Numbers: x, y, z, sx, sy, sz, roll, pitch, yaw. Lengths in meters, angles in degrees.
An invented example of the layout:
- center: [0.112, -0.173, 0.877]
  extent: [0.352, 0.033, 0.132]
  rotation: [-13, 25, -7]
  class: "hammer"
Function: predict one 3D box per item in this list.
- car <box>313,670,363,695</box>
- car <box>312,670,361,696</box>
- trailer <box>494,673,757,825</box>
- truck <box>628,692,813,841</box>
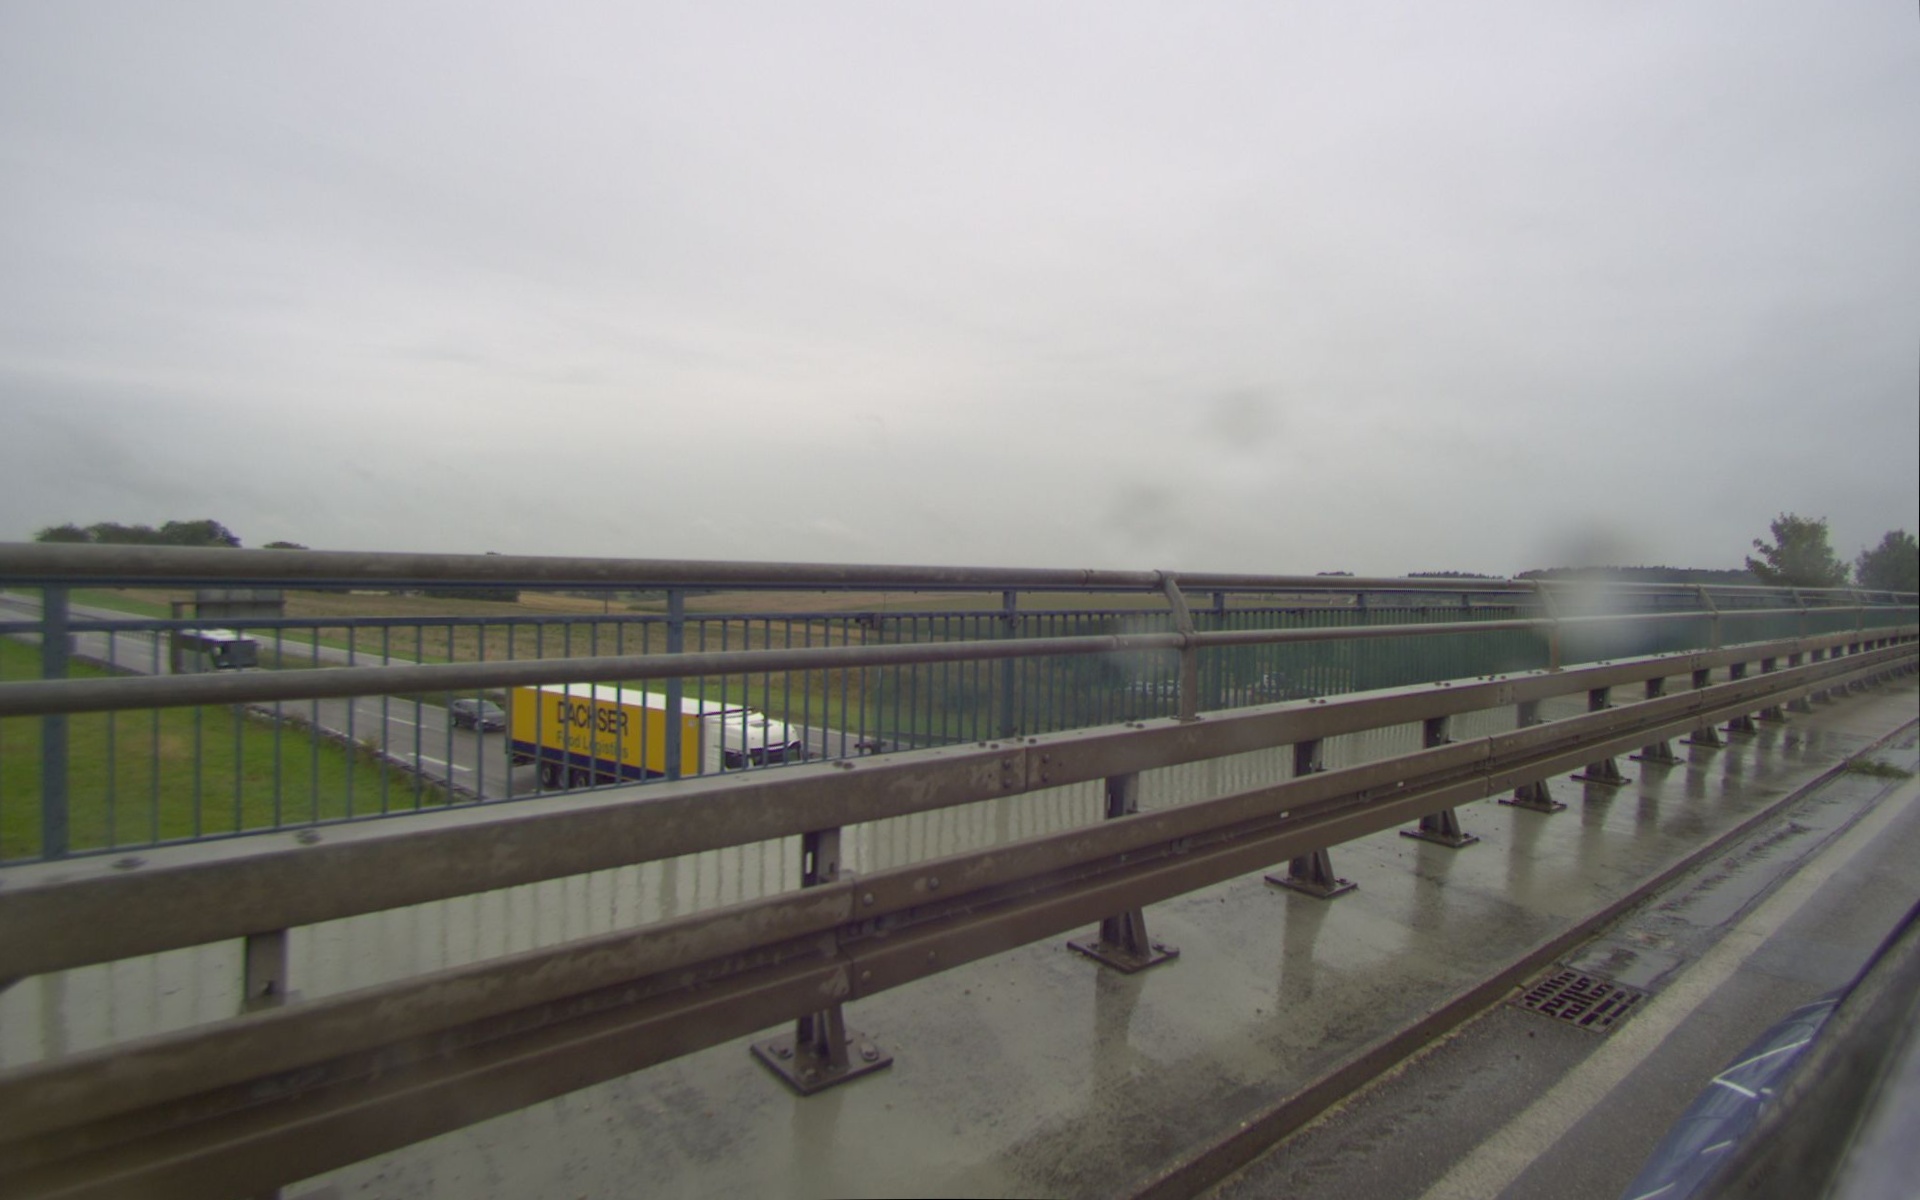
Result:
- center: [-42.911, 5.680, 69.813]
  extent: [3.978, 1.368, 1.654]
  rotation: [2, 1, 38]
  class: "car"
- center: [-42.643, 5.650, 69.189]
  extent: [3.981, 1.368, 1.653]
  rotation: [2, 1, 39]
  class: "car"
- center: [-13.712, 5.499, 40.141]
  extent: [13.956, 4.017, 2.841]
  rotation: [2, 1, 39]
  class: "trailer"
- center: [-8.613, 5.677, 35.987]
  extent: [6.788, 4.017, 2.841]
  rotation: [2, 1, 39]
  class: "truck"
